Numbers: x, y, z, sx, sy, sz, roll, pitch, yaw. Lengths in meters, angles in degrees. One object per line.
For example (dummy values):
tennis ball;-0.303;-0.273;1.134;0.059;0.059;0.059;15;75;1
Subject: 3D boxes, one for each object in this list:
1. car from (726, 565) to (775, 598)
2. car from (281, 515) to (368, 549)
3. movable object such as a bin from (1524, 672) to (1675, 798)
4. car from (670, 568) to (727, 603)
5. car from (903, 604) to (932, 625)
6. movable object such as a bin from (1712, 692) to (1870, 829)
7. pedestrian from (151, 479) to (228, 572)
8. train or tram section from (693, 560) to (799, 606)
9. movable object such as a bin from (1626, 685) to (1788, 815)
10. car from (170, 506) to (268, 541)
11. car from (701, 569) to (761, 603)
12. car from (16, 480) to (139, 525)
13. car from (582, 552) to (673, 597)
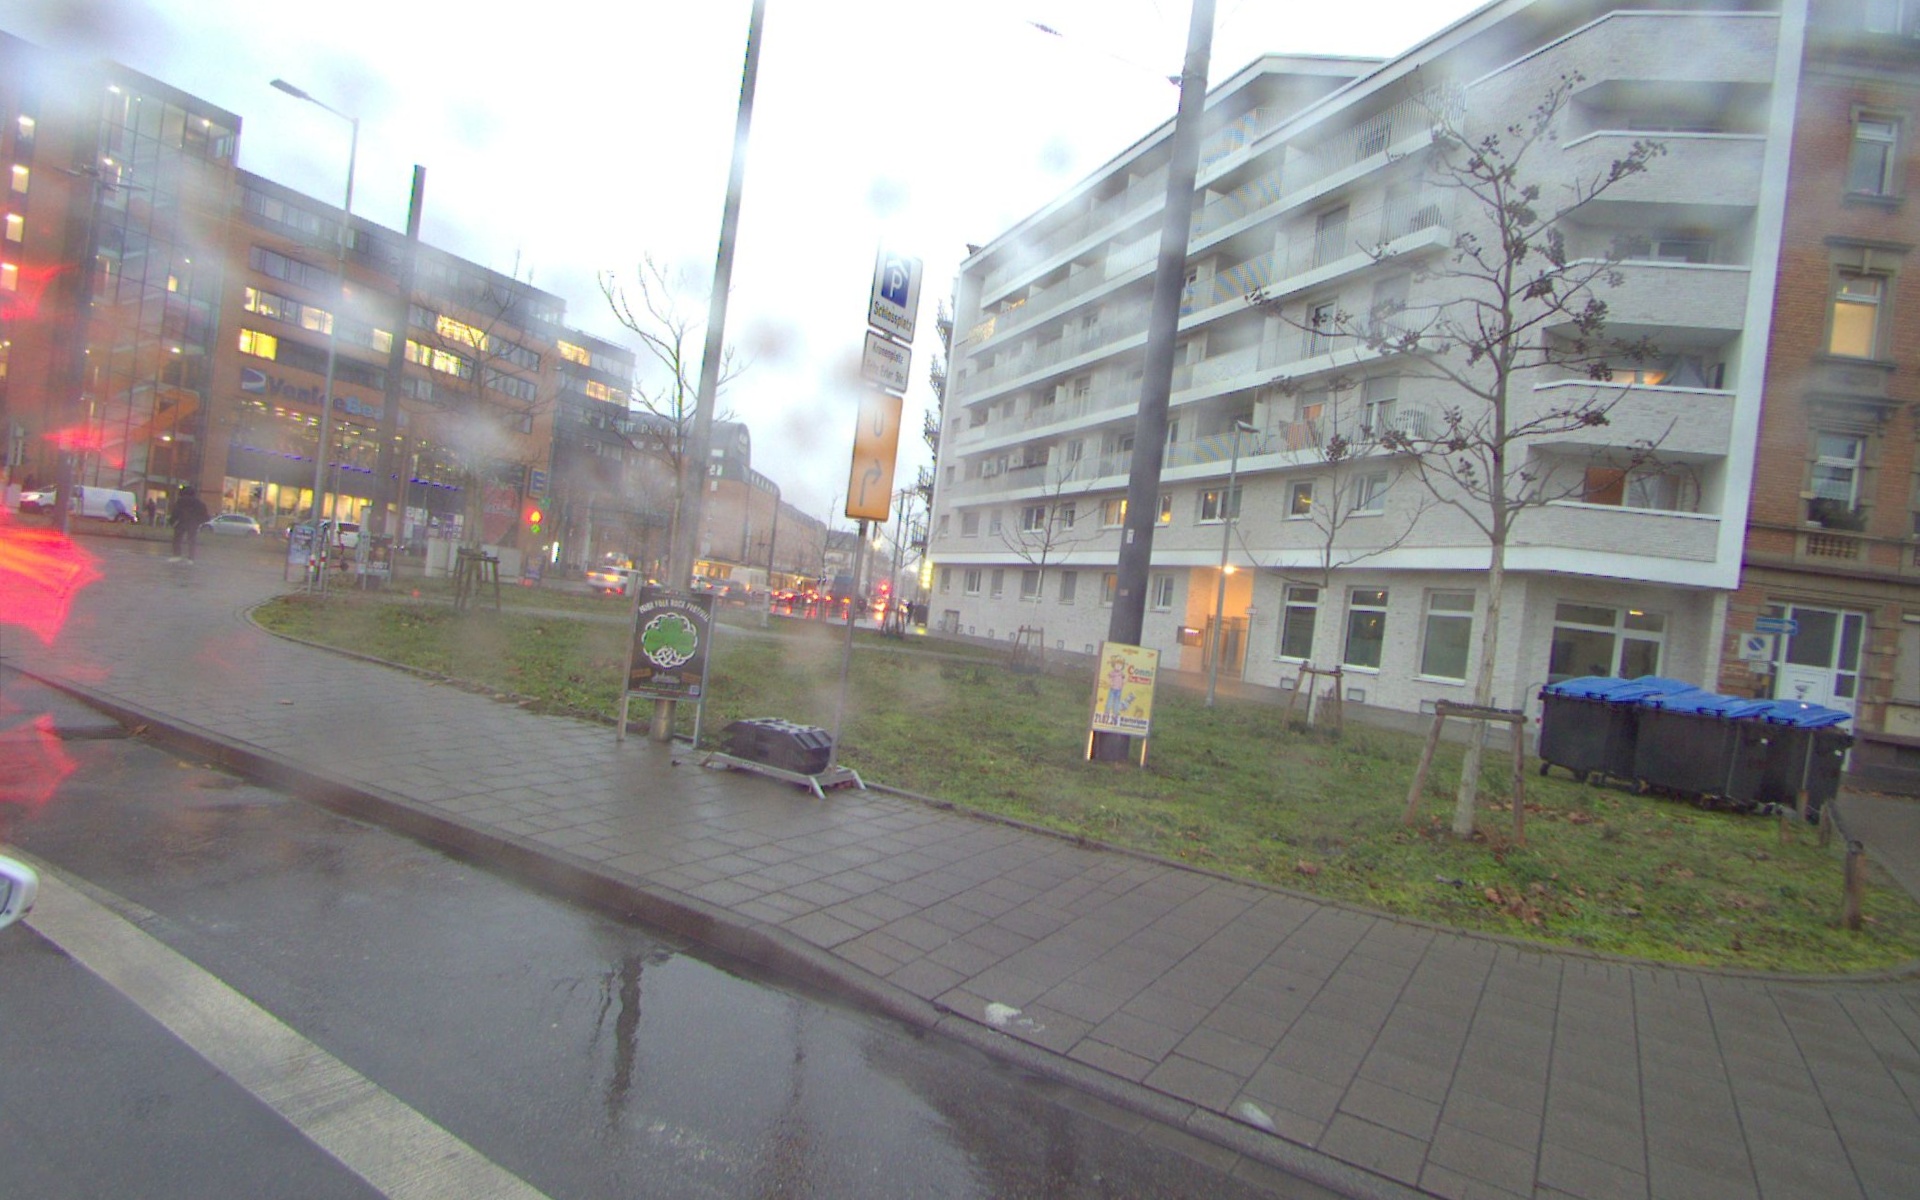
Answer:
car;-17.486;-1.542;84.193;1.962;2.036;4.957;8;-2;11
car;-41.272;-4.402;65.466;1.767;1.553;4.444;7;-1;25
movable object such as a bin;9.006;1.882;14.219;1.016;1.513;1.324;7;0;-18
car;-19.870;-1.063;76.661;1.963;2.036;4.003;8;-2;22
car;-5.098;1.795;121.875;1.962;2.036;4.376;8;-2;16
movable object such as a bin;10.763;2.052;13.060;1.021;1.507;1.039;9;-2;-12
pedestrian;-18.191;-1.743;23.781;1.164;1.946;0.890;10;-2;-35
train or tram section;-20.923;-1.496;100.224;2.293;3.300;16.666;7;-1;17
movable object such as a bin;9.605;1.912;12.978;1.003;1.434;1.218;6;1;-21
car;-43.728;-4.506;59.454;1.767;1.406;4.227;7;-1;25
car;-15.692;-0.935;69.144;1.963;1.898;3.998;8;1;21
car;-46.137;-5.068;52.694;1.767;1.614;4.431;7;-1;25
car;-17.607;-1.308;53.539;1.798;1.873;4.682;6;-1;23
